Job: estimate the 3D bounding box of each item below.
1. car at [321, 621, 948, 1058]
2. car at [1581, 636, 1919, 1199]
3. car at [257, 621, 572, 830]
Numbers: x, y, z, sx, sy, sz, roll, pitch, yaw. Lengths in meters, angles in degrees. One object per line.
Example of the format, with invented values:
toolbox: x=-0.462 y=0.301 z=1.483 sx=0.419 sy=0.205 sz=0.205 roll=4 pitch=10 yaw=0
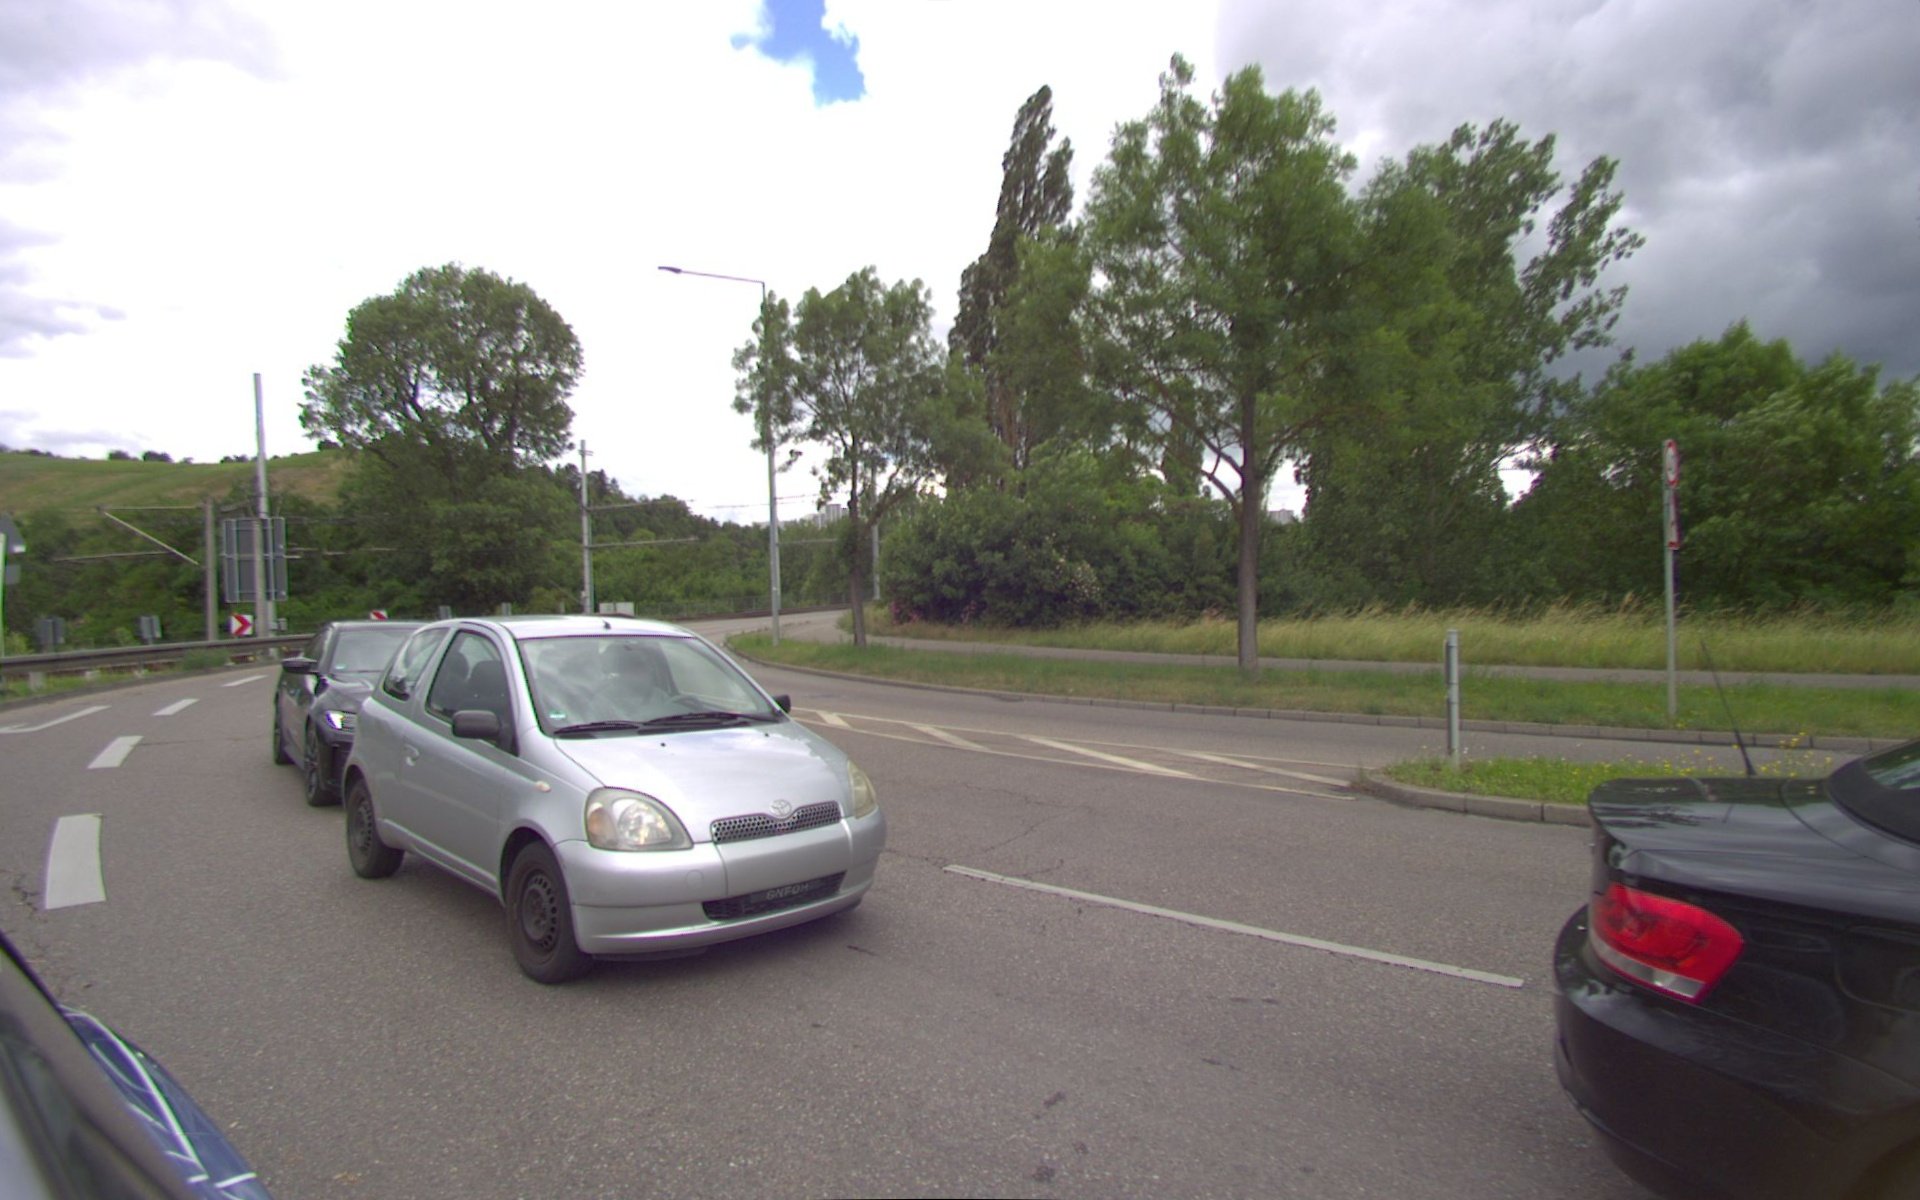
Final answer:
car: x=-1.933 y=0.866 z=5.355 sx=3.629 sy=1.481 sz=1.650 roll=-1 pitch=-1 yaw=44
car: x=3.302 y=0.743 z=1.307 sx=4.079 sy=1.378 sz=1.548 roll=-2 pitch=-2 yaw=39
car: x=-5.465 y=0.947 z=9.739 sx=1.848 sy=1.488 sz=4.974 roll=1 pitch=-2 yaw=-38
